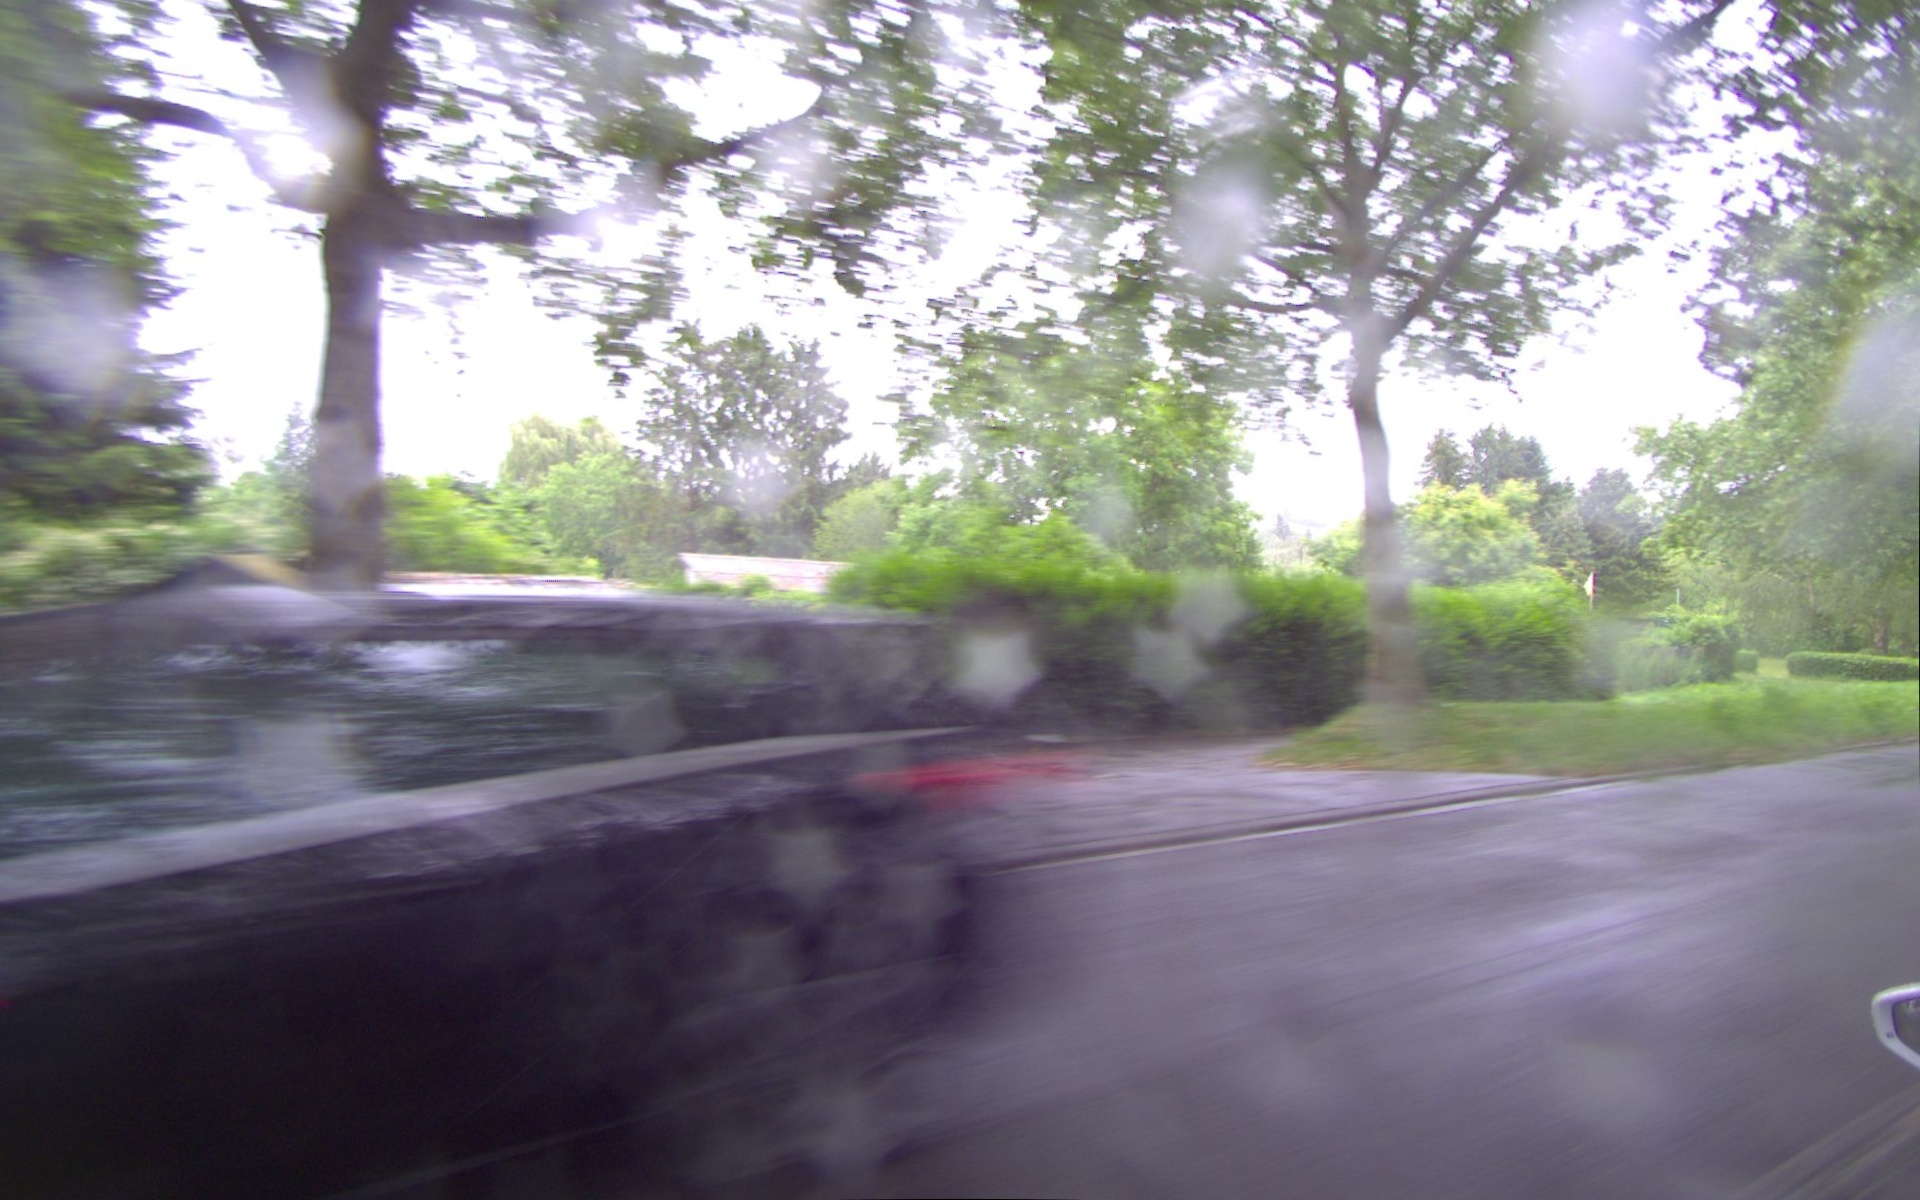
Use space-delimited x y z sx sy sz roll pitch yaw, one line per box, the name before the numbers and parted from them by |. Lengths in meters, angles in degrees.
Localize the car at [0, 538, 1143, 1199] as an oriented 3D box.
car | -1.619 0.649 2.747 3.956 1.522 1.835 2 1 -32
